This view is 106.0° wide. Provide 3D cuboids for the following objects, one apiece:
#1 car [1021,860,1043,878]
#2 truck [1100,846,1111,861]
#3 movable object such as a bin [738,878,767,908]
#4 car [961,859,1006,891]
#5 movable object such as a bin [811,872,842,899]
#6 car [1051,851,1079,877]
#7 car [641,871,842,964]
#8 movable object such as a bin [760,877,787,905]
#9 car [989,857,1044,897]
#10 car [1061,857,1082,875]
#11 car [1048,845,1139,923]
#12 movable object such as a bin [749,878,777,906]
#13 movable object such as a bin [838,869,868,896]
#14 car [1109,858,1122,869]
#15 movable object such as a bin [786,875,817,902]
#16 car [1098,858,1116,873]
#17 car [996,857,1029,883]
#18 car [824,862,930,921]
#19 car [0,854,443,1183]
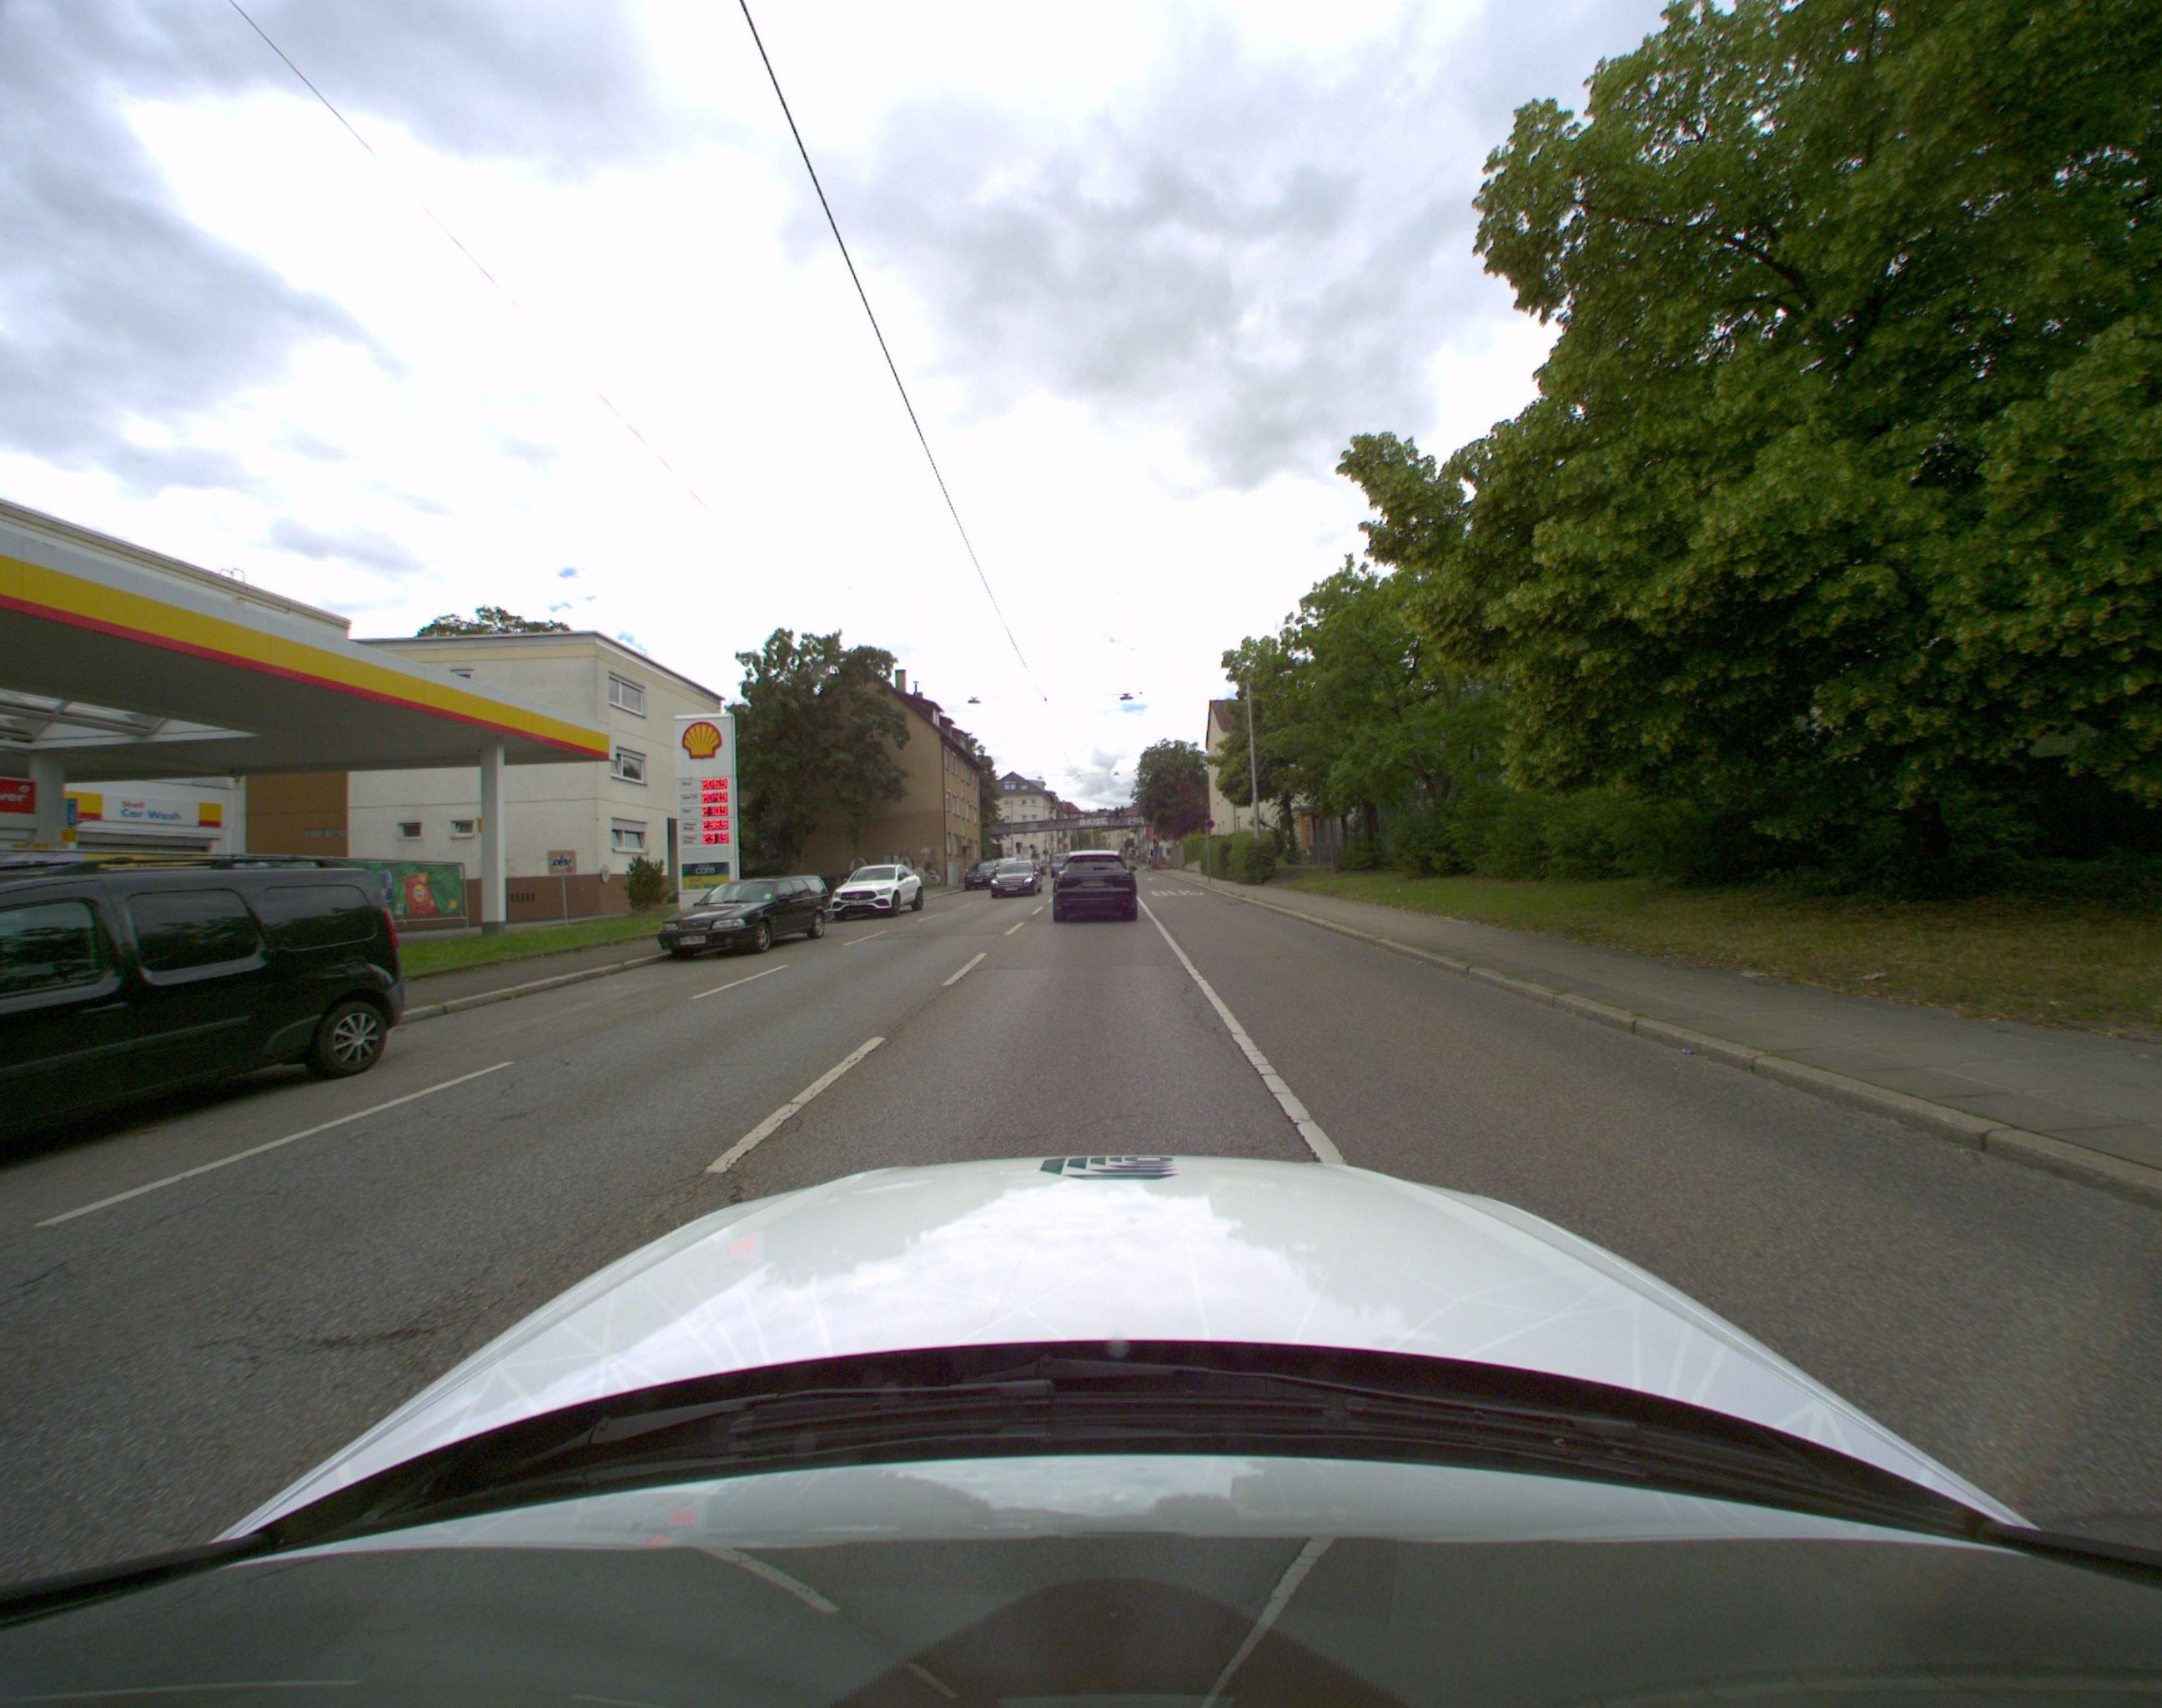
[{"bbox_3d":[-4.679,1.390,77.960,1.740,1.568,3.907,-4,0,0],"label":"car"},{"bbox_3d":[5.831,-0.146,194.546,2.258,3.424,9.881,-3,0,2],"label":"truck"},{"bbox_3d":[-17.147,2.022,42.501,0.907,1.428,1.397,-2,0,0],"label":"movable object such as a bin"},{"bbox_3d":[-5.667,1.177,47.749,1.775,1.609,4.268,-5,0,3],"label":"car"},{"bbox_3d":[-14.233,1.764,45.615,1.388,1.428,0.913,-2,0,-1],"label":"movable object such as a bin"},{"bbox_3d":[-1.271,0.783,66.468,1.924,1.901,4.591,-3,0,2],"label":"car"},{"bbox_3d":[-6.726,1.172,16.827,1.790,1.431,4.749,-4,0,4],"label":"car"},{"bbox_3d":[-17.135,2.048,45.382,0.907,1.428,1.397,-2,0,0],"label":"movable object such as a bin"},{"bbox_3d":[-2.706,0.940,35.129,1.771,1.466,4.502,-3,0,2],"label":"car"},{"bbox_3d":[-0.929,1.202,83.156,1.833,1.590,4.165,-3,0,2],"label":"car"},{"bbox_3d":[0.363,0.656,20.205,1.986,1.662,4.002,-2,0,2],"label":"car"},{"bbox_3d":[-17.134,2.035,43.950,0.907,1.428,1.397,-2,0,0],"label":"movable object such as a bin"},{"bbox_3d":[-12.772,1.602,45.635,1.388,1.428,0.913,-2,0,-1],"label":"movable object such as a bin"},{"bbox_3d":[4.759,1.281,111.689,1.734,1.400,4.002,-2,0,2],"label":"car"},{"bbox_3d":[-15.655,1.901,45.582,1.388,1.428,0.913,-2,0,-1],"label":"movable object such as a bin"},{"bbox_3d":[2.758,1.200,85.512,1.734,1.400,4.002,-2,0,2],"label":"car"},{"bbox_3d":[-5.004,1.145,59.866,1.770,1.754,4.559,-4,0,2],"label":"car"},{"bbox_3d":[-6.355,1.111,25.934,1.908,1.577,4.702,-3,0,2],"label":"car"},{"bbox_3d":[-6.997,0.976,5.311,1.845,1.835,4.701,-4,0,0],"label":"car"}]
